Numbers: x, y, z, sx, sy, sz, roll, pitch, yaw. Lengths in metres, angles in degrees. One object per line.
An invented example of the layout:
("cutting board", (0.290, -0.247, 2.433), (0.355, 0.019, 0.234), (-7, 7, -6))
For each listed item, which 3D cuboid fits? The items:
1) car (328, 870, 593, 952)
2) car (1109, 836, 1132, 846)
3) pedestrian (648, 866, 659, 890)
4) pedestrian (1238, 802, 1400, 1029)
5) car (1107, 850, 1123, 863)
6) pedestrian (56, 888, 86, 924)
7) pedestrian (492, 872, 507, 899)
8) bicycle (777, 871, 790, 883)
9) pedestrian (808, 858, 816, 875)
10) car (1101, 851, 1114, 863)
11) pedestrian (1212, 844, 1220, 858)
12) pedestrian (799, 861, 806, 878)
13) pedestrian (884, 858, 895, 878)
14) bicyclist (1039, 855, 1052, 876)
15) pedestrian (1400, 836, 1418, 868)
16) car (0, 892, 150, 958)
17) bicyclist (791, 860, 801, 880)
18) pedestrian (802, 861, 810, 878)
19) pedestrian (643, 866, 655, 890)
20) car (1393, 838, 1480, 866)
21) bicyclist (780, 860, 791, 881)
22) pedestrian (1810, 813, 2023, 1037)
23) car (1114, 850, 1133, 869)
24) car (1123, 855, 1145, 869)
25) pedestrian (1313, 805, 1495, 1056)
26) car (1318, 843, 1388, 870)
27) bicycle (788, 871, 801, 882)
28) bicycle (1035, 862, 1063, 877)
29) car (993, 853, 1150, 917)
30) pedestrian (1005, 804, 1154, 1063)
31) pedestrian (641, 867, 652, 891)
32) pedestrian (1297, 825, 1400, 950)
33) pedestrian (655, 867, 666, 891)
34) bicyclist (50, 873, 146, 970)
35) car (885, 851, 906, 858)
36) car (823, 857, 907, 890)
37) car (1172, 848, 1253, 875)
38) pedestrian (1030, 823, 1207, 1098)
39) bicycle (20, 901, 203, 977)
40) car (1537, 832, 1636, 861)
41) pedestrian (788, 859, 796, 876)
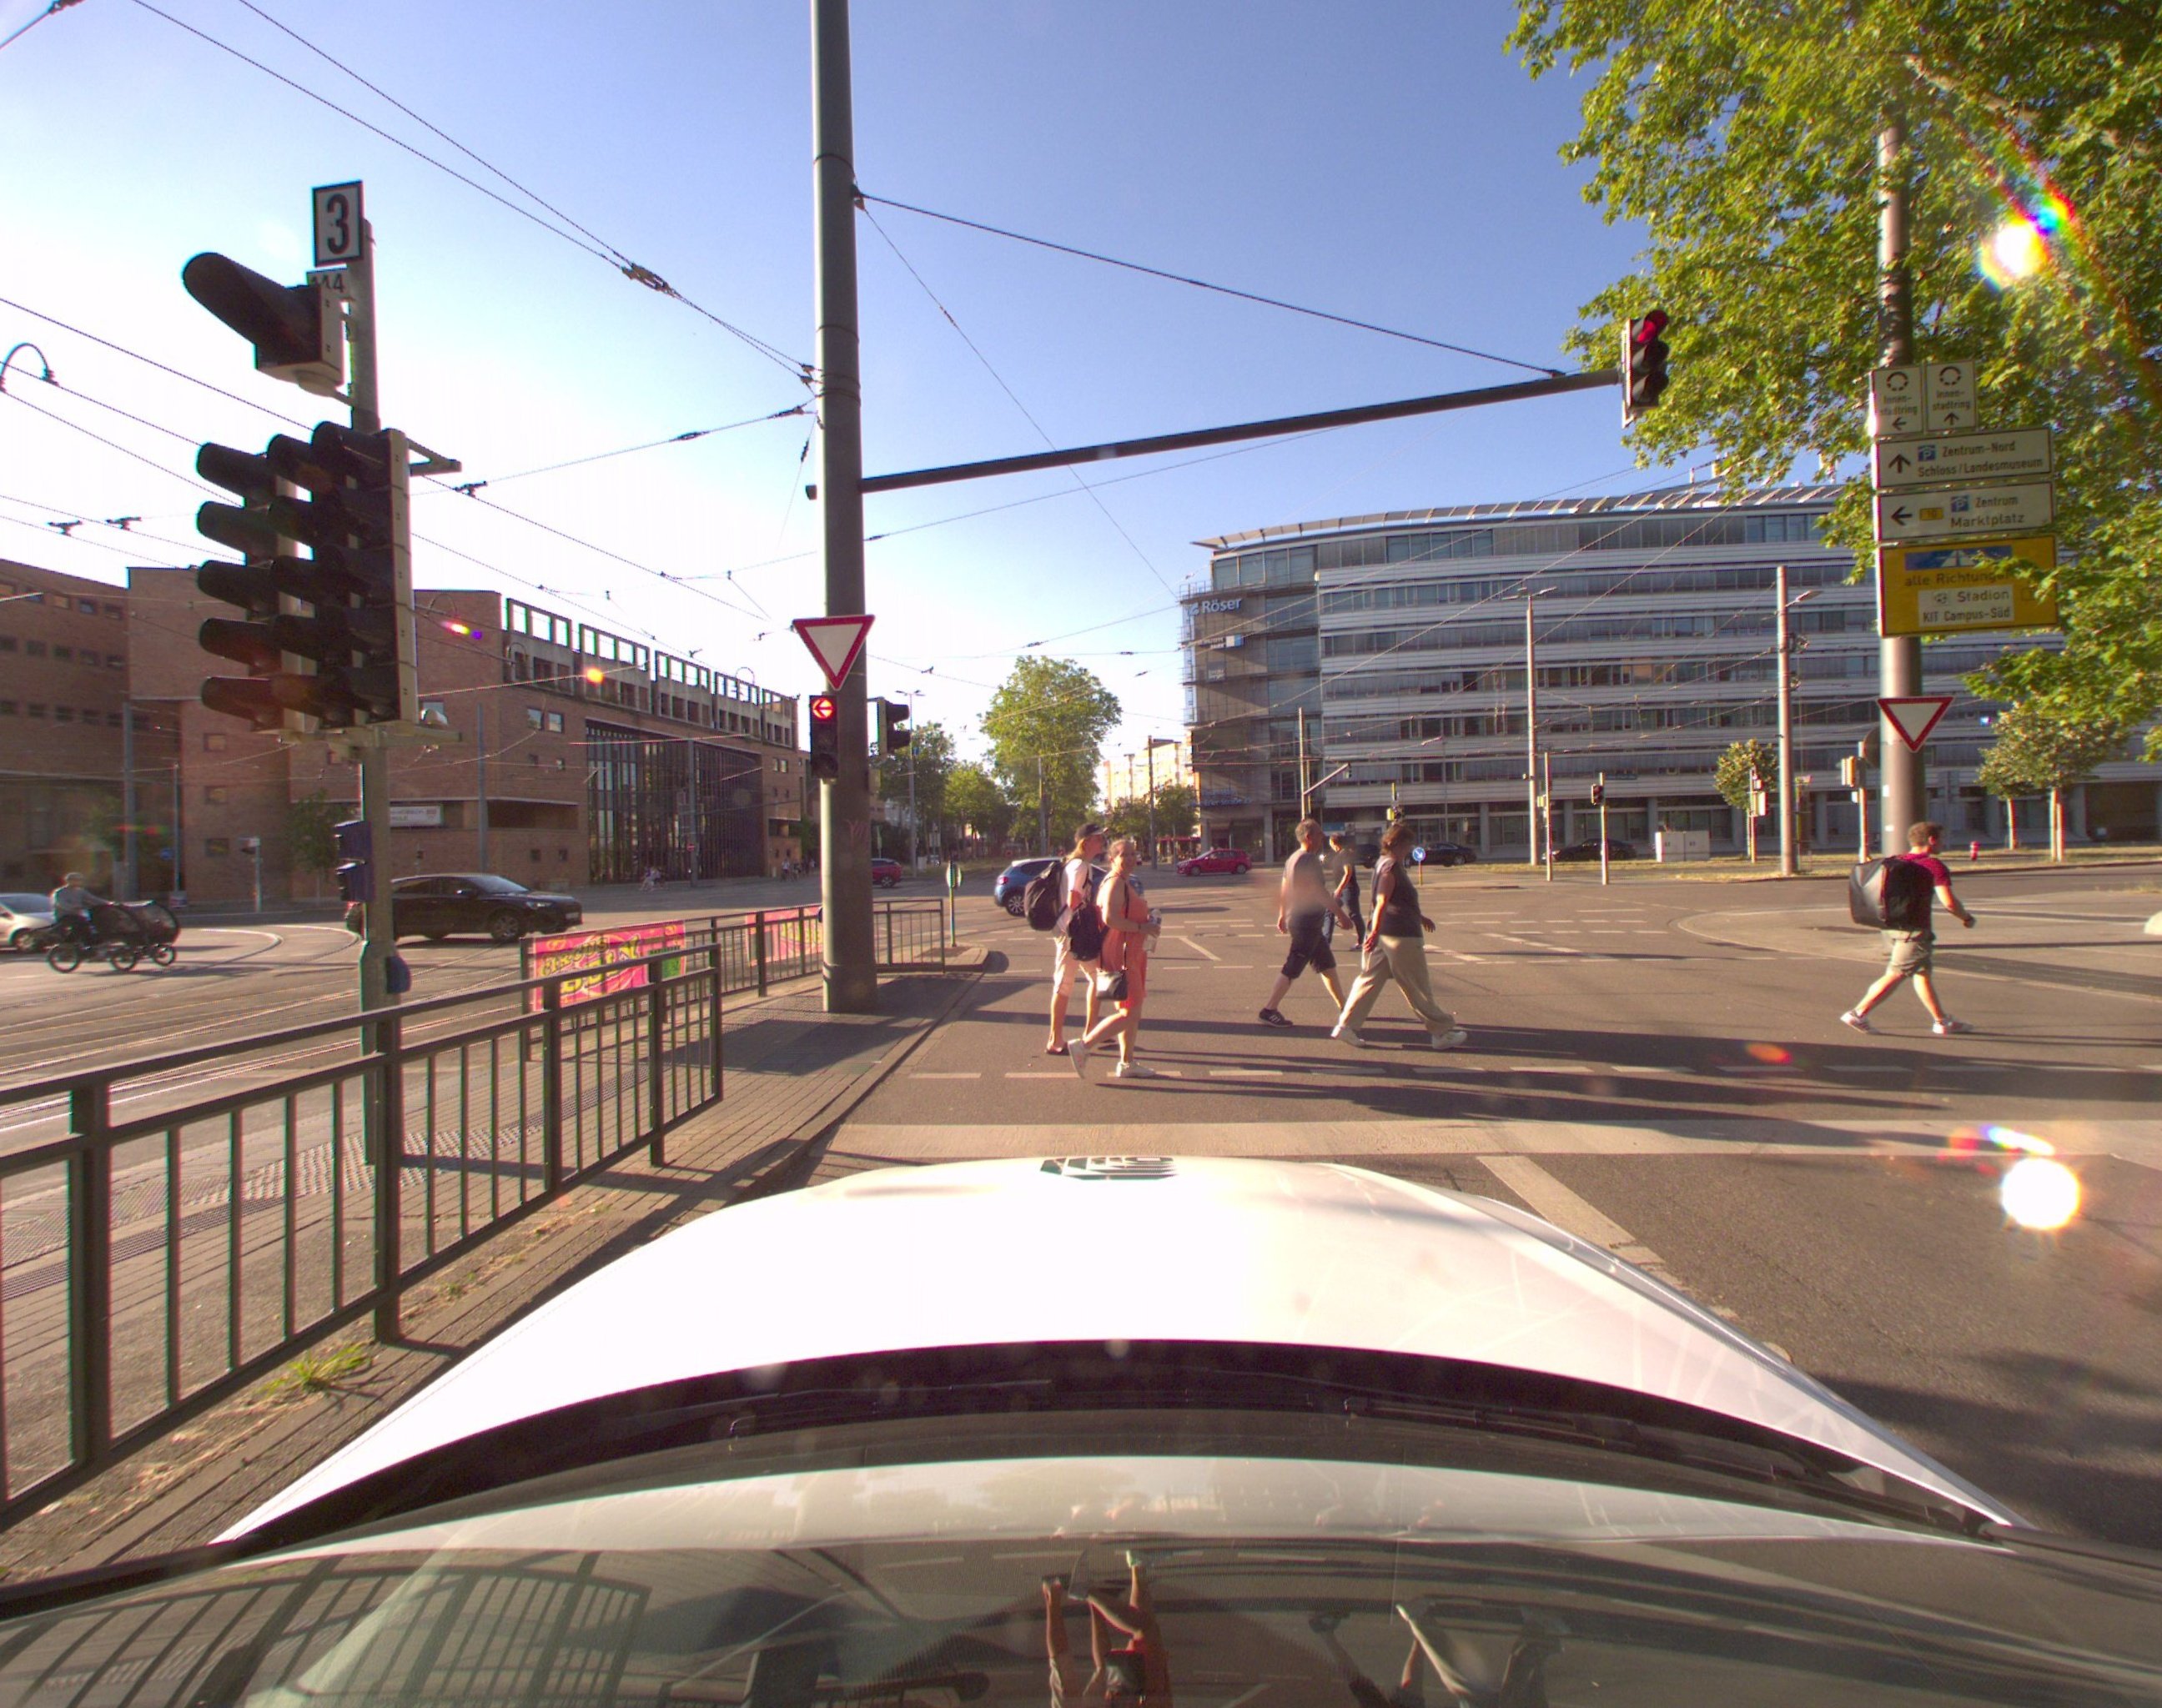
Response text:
("car", (-13.860, 1.227, 18.395), (4.469, 1.583, 1.824), (-2, 0, -2))
("car", (6.889, -2.271, 142.038), (3.732, 1.750, 1.789), (0, -1, 16))
("pedestrian", (-30.739, 1.705, 58.569), (0.538, 1.650, 0.622), (-2, 0, -17))
("pedestrian", (2.098, 0.514, 7.305), (1.143, 1.893, 0.831), (-1, -1, -6))
("car", (4.357, 0.319, 105.712), (1.986, 1.662, 4.002), (-2, 0, 2))
("pedestrian", (-45.833, 2.353, 36.948), (0.542, 1.613, 0.613), (0, 1, -3))
("pedestrian", (-35.347, 1.896, 49.502), (0.538, 1.613, 0.575), (-2, 0, 33))
("bicycle", (-24.427, 1.885, 66.860), (0.512, 0.881, 1.835), (-2, 0, -6))
("pedestrian", (-29.594, 1.362, 89.665), (0.637, 1.810, 0.547), (-2, 0, 8))
("car", (4.095, 0.440, 127.450), (1.986, 1.662, 4.002), (-2, 0, 2))
("pedestrian", (14.547, -0.278, 87.716), (0.734, 1.465, 0.538), (-2, 0, 11))
("pedestrian", (-30.646, 1.688, 89.742), (0.487, 1.810, 0.547), (-2, 0, 9))
("pedestrian", (-14.990, 1.096, 63.790), (0.753, 1.530, 0.507), (-1, 0, -6))
("bicyclist", (-2.306, 0.731, 52.885), (0.817, 1.366, 0.400), (-2, 0, -3))
("pedestrian", (17.277, -0.088, 42.913), (0.715, 1.681, 0.558), (-1, 0, 9))
("car", (-26.185, 1.754, 20.184), (3.900, 1.434, 1.823), (-2, 0, -4))
("bicyclist", (-23.516, 1.321, 67.205), (0.592, 1.675, 0.788), (-2, 0, -4))
("pedestrian", (-29.775, 1.696, 88.137), (0.519, 1.779, 0.547), (-2, 0, 9))
("pedestrian", (-30.611, 1.672, 57.707), (0.538, 1.650, 0.622), (-2, 0, -17))
("car", (20.592, -0.116, 47.260), (4.225, 1.434, 1.796), (-2, 0, 2))
("bicyclist", (-24.284, 1.322, 66.967), (0.592, 1.675, 0.788), (-2, 0, -4))
("pedestrian", (6.745, 0.548, 6.612), (1.070, 1.715, 0.628), (-1, -1, -2))
("car", (4.720, 0.570, 90.376), (1.986, 1.991, 4.002), (-2, 0, 2))
("car", (5.413, 0.773, 83.515), (1.986, 1.332, 4.002), (-2, 0, 2))
("pedestrian", (2.469, 0.549, 6.319), (1.070, 1.806, 0.756), (-1, -1, -6))
("car", (17.013, 0.140, 51.074), (3.844, 1.507, 1.797), (-2, 0, 3))
("bicycle", (-23.606, 1.835, 67.146), (0.512, 0.881, 1.835), (-2, 0, -6))
("bicycle", (-2.088, 0.987, 52.900), (1.737, 0.899, 0.408), (-2, 0, -4))
("car", (-0.264, 0.786, 21.743), (3.943, 1.456, 1.999), (-2, 0, -2))
("pedestrian", (-0.040, 0.577, 6.337), (1.072, 1.871, 0.737), (-1, -1, -6))
("pedestrian", (-30.298, 1.760, 56.801), (0.538, 1.650, 0.622), (-2, 0, -17))
("pedestrian", (4.056, 0.495, 12.440), (1.206, 1.822, 1.040), (0, -1, -4))
("pedestrian", (-29.735, 1.735, 57.604), (0.538, 1.650, 0.622), (-2, 0, -17))
("bicyclist", (-17.936, 1.208, 14.873), (0.900, 1.681, 0.692), (-2, 0, 5))
("car", (-39.798, 0.154, 174.684), (4.011, 1.552, 1.592), (0, -1, -30))
("car", (-11.791, 1.033, 44.745), (4.240, 1.602, 1.790), (-2, 0, -9))
("car", (7.526, 0.432, 46.821), (4.233, 1.392, 1.792), (-2, 0, -5))
("pedestrian", (0.216, 0.653, 5.443), (1.071, 1.682, 0.756), (-1, -1, -6))
("bicycle", (-17.726, 1.534, 14.936), (2.147, 1.226, 1.074), (-1, 1, 5))
("car", (27.408, -0.397, 44.277), (4.219, 1.392, 1.799), (-2, 0, 6))
("pedestrian", (-31.363, 1.439, 88.383), (0.487, 1.810, 0.547), (-2, 0, 9))
